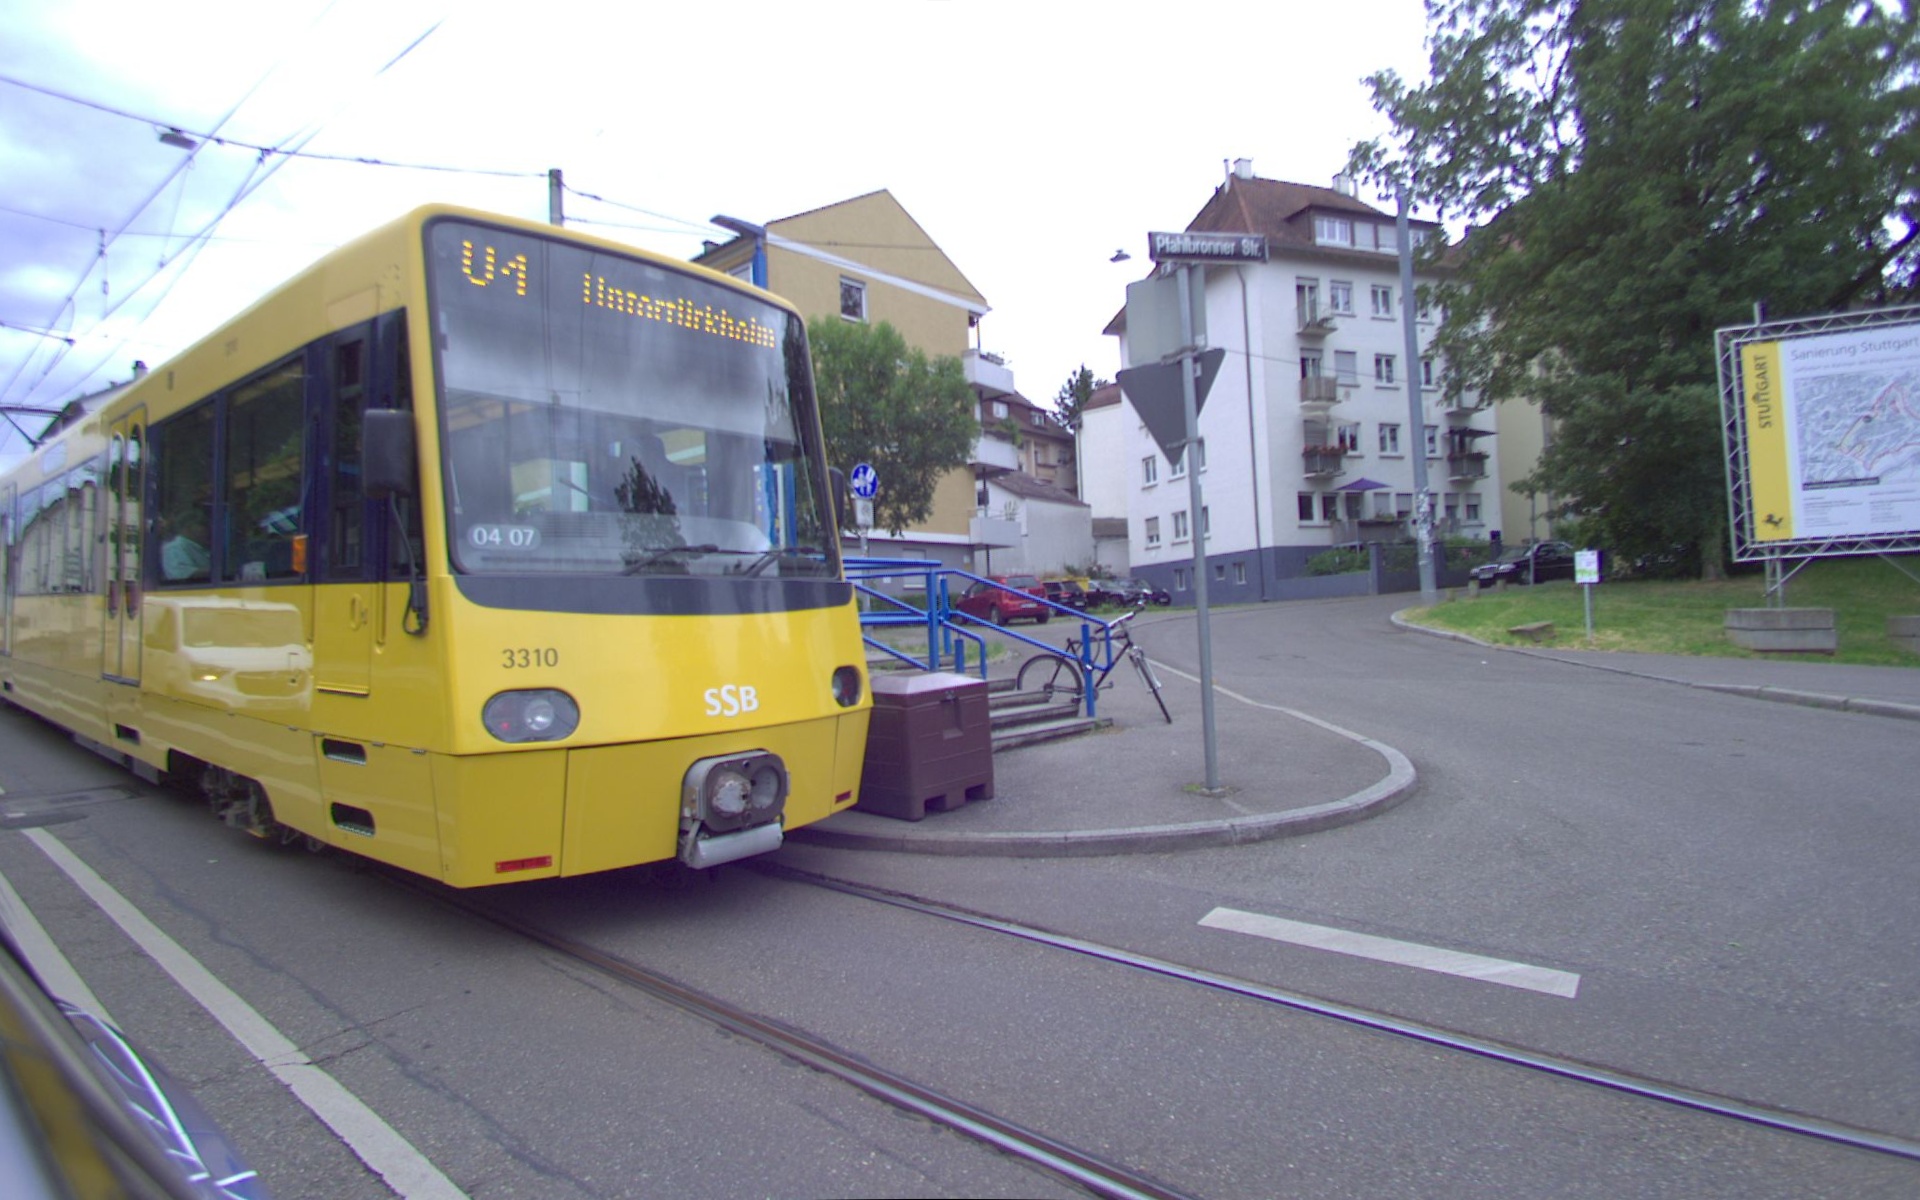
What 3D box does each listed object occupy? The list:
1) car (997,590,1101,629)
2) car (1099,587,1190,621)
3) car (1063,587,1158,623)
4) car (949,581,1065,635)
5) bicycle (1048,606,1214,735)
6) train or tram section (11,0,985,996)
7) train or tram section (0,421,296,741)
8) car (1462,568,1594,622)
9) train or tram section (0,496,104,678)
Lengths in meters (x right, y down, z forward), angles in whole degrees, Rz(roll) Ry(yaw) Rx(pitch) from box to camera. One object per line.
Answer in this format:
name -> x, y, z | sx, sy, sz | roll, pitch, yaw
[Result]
car -> 3.458, 0.370, 39.971 | 1.813, 1.475, 4.007 | 0, -1, -40
car -> 8.354, 0.208, 46.078 | 1.811, 1.475, 4.011 | -1, 0, -34
car -> 6.478, 0.223, 43.922 | 1.811, 1.475, 4.011 | -1, 0, -34
car -> 1.303, 0.235, 30.090 | 1.810, 1.475, 4.013 | -1, 0, -24
bicycle -> 1.676, 0.653, 10.043 | 1.487, 1.190, 0.704 | 0, -1, 41
train or tram section -> -5.360, -0.345, 8.653 | 12.123, 3.664, 2.820 | -1, -1, 41
train or tram section -> -14.511, -0.127, 16.597 | 12.122, 3.664, 2.795 | -1, -1, 41
car -> 18.989, -0.174, 33.827 | 3.930, 1.741, 1.853 | -1, 0, -24
train or tram section -> -23.725, -0.166, 24.488 | 12.122, 3.664, 2.723 | -1, -1, 41
